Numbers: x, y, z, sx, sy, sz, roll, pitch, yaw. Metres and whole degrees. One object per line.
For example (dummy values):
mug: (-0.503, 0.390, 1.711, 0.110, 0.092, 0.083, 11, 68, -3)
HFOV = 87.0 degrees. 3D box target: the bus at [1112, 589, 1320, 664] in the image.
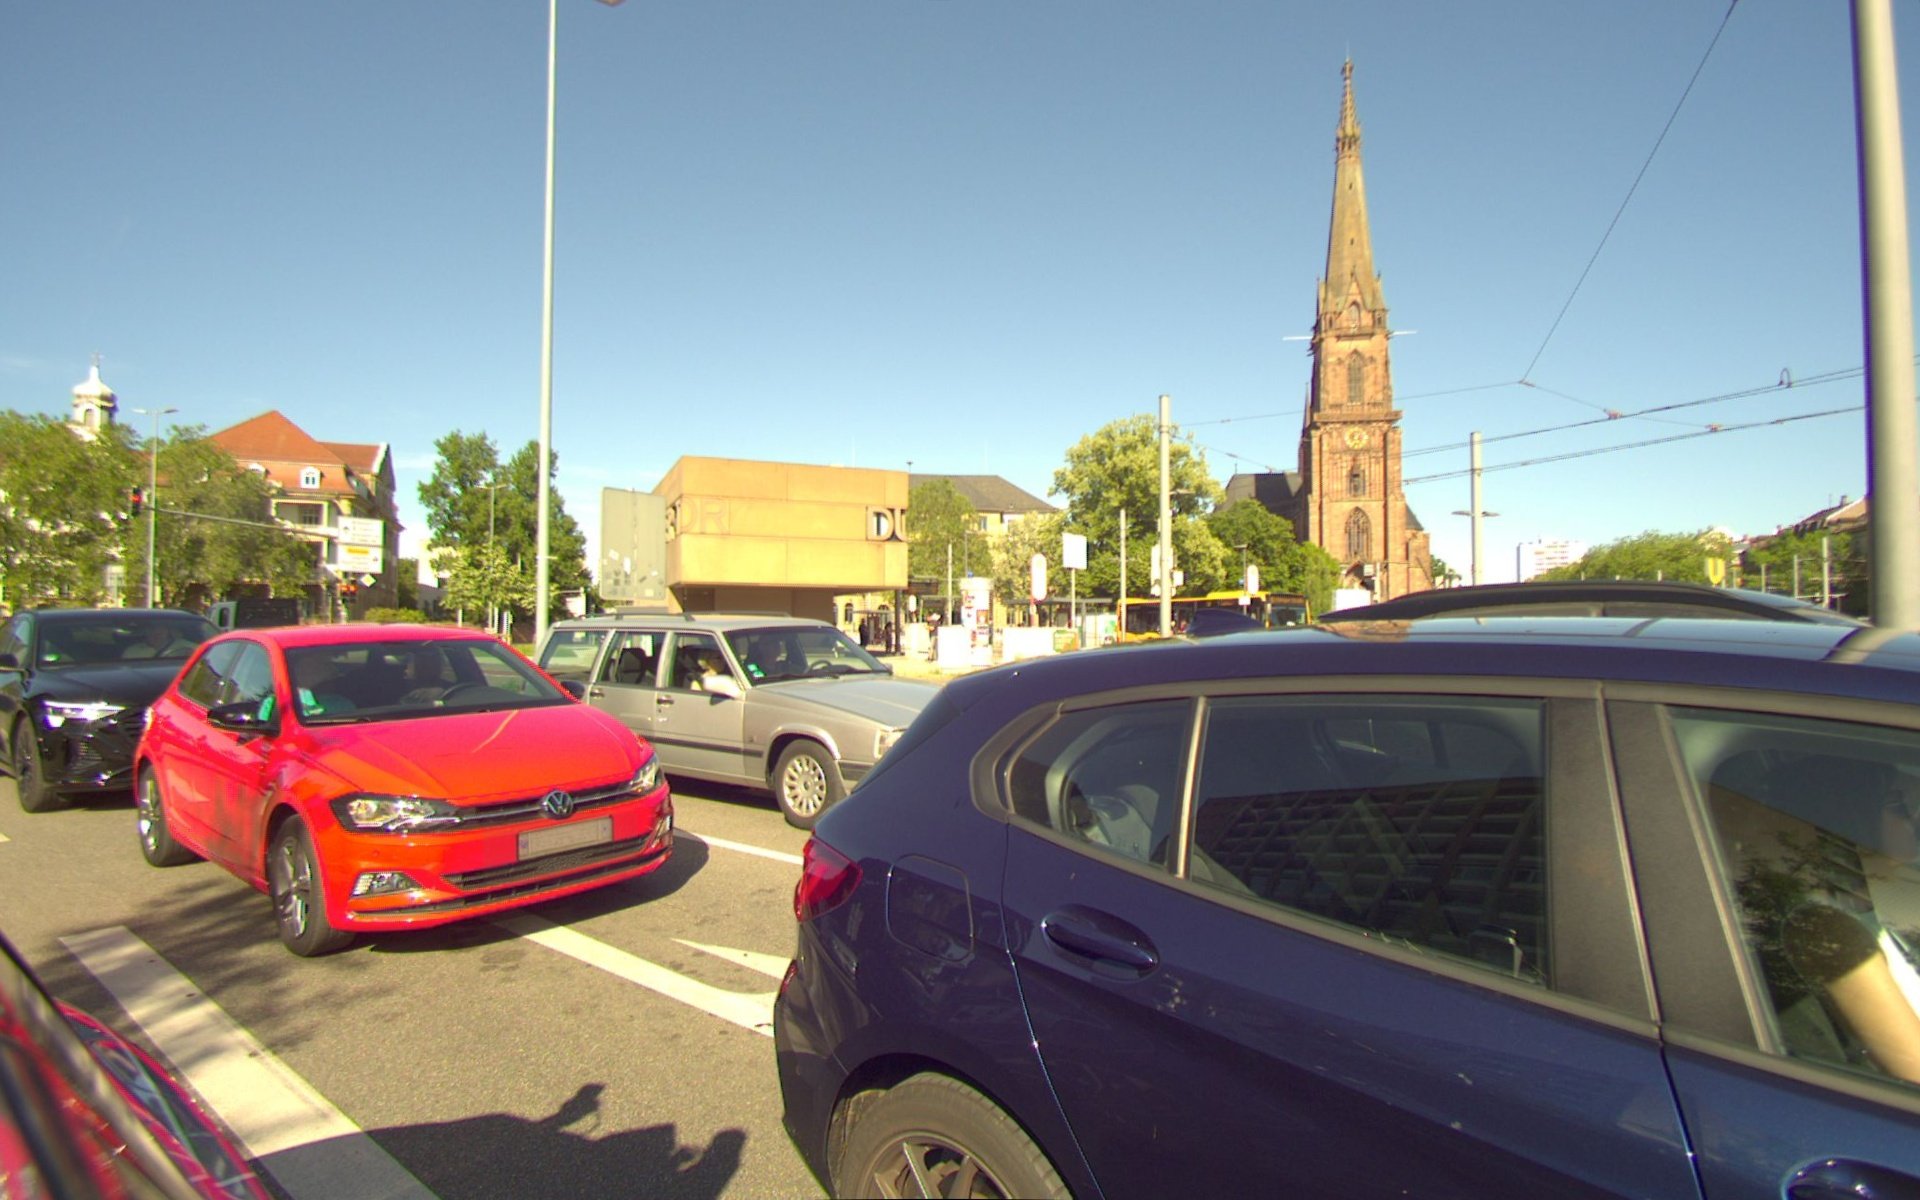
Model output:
bus: (11.639, 1.316, 48.110, 2.715, 3.088, 12.201, 1, -2, -23)

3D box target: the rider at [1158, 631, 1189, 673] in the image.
rider: (7.529, 1.830, 35.721, 0.847, 1.475, 0.672, 0, -2, -13)

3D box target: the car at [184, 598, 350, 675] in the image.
car: (-22.723, 1.168, 33.099, 6.191, 2.331, 2.095, -1, -2, 31)

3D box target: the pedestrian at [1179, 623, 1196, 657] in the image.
pedestrian: (10.405, 1.844, 46.250, 0.552, 1.525, 0.529, -1, -1, -13)

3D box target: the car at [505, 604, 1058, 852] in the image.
car: (-1.667, 0.815, 8.227, 4.745, 1.484, 1.692, -1, -1, 38)

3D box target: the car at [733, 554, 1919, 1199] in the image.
car: (1.598, 0.680, 1.366, 4.030, 1.456, 1.692, -1, -1, 42)

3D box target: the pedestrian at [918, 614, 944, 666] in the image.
pedestrian: (-1.040, 1.421, 35.892, 0.665, 1.802, 0.639, -1, -1, 30)

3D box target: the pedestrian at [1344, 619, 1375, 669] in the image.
pedestrian: (15.026, 1.656, 38.056, 0.882, 1.869, 0.679, -2, -3, 41)

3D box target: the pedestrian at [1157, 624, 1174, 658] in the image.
pedestrian: (9.431, 1.860, 46.375, 0.561, 1.525, 0.529, -1, -1, -13)

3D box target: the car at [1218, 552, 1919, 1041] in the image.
car: (3.288, 0.630, 4.105, 4.010, 1.529, 1.738, -2, -2, 44)

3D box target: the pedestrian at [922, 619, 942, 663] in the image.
pedestrian: (-1.128, 1.651, 40.799, 0.634, 1.789, 0.470, 1, -2, -29)

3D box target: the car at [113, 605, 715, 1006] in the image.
car: (-3.228, 0.808, 5.649, 3.850, 1.484, 1.653, -2, -1, 40)

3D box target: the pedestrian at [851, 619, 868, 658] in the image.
pedestrian: (-4.606, 1.766, 46.397, 0.468, 1.789, 0.638, -2, -2, 36)

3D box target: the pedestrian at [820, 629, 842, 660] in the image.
pedestrian: (-5.492, 1.898, 43.182, 0.635, 1.320, 0.764, 1, -2, -40)

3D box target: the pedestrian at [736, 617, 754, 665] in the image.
pedestrian: (-8.148, 1.545, 38.329, 0.635, 1.789, 0.618, 0, -2, -8)

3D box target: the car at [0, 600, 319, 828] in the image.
car: (-7.829, 0.877, 9.322, 4.446, 1.628, 1.836, -1, -2, 38)

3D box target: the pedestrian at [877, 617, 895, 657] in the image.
pedestrian: (-3.300, 1.651, 45.081, 0.468, 1.789, 0.638, -2, -2, 36)

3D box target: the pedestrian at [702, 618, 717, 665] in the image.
pedestrian: (-9.567, 1.578, 38.672, 0.460, 1.789, 0.648, 0, -2, -21)

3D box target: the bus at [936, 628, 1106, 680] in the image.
bus: (1.523, 1.358, 26.128, 4.174, 1.251, 1.627, -1, -2, 35)

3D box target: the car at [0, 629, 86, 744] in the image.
car: (-13.600, 1.125, 13.893, 3.704, 1.429, 1.557, -1, -1, 35)
